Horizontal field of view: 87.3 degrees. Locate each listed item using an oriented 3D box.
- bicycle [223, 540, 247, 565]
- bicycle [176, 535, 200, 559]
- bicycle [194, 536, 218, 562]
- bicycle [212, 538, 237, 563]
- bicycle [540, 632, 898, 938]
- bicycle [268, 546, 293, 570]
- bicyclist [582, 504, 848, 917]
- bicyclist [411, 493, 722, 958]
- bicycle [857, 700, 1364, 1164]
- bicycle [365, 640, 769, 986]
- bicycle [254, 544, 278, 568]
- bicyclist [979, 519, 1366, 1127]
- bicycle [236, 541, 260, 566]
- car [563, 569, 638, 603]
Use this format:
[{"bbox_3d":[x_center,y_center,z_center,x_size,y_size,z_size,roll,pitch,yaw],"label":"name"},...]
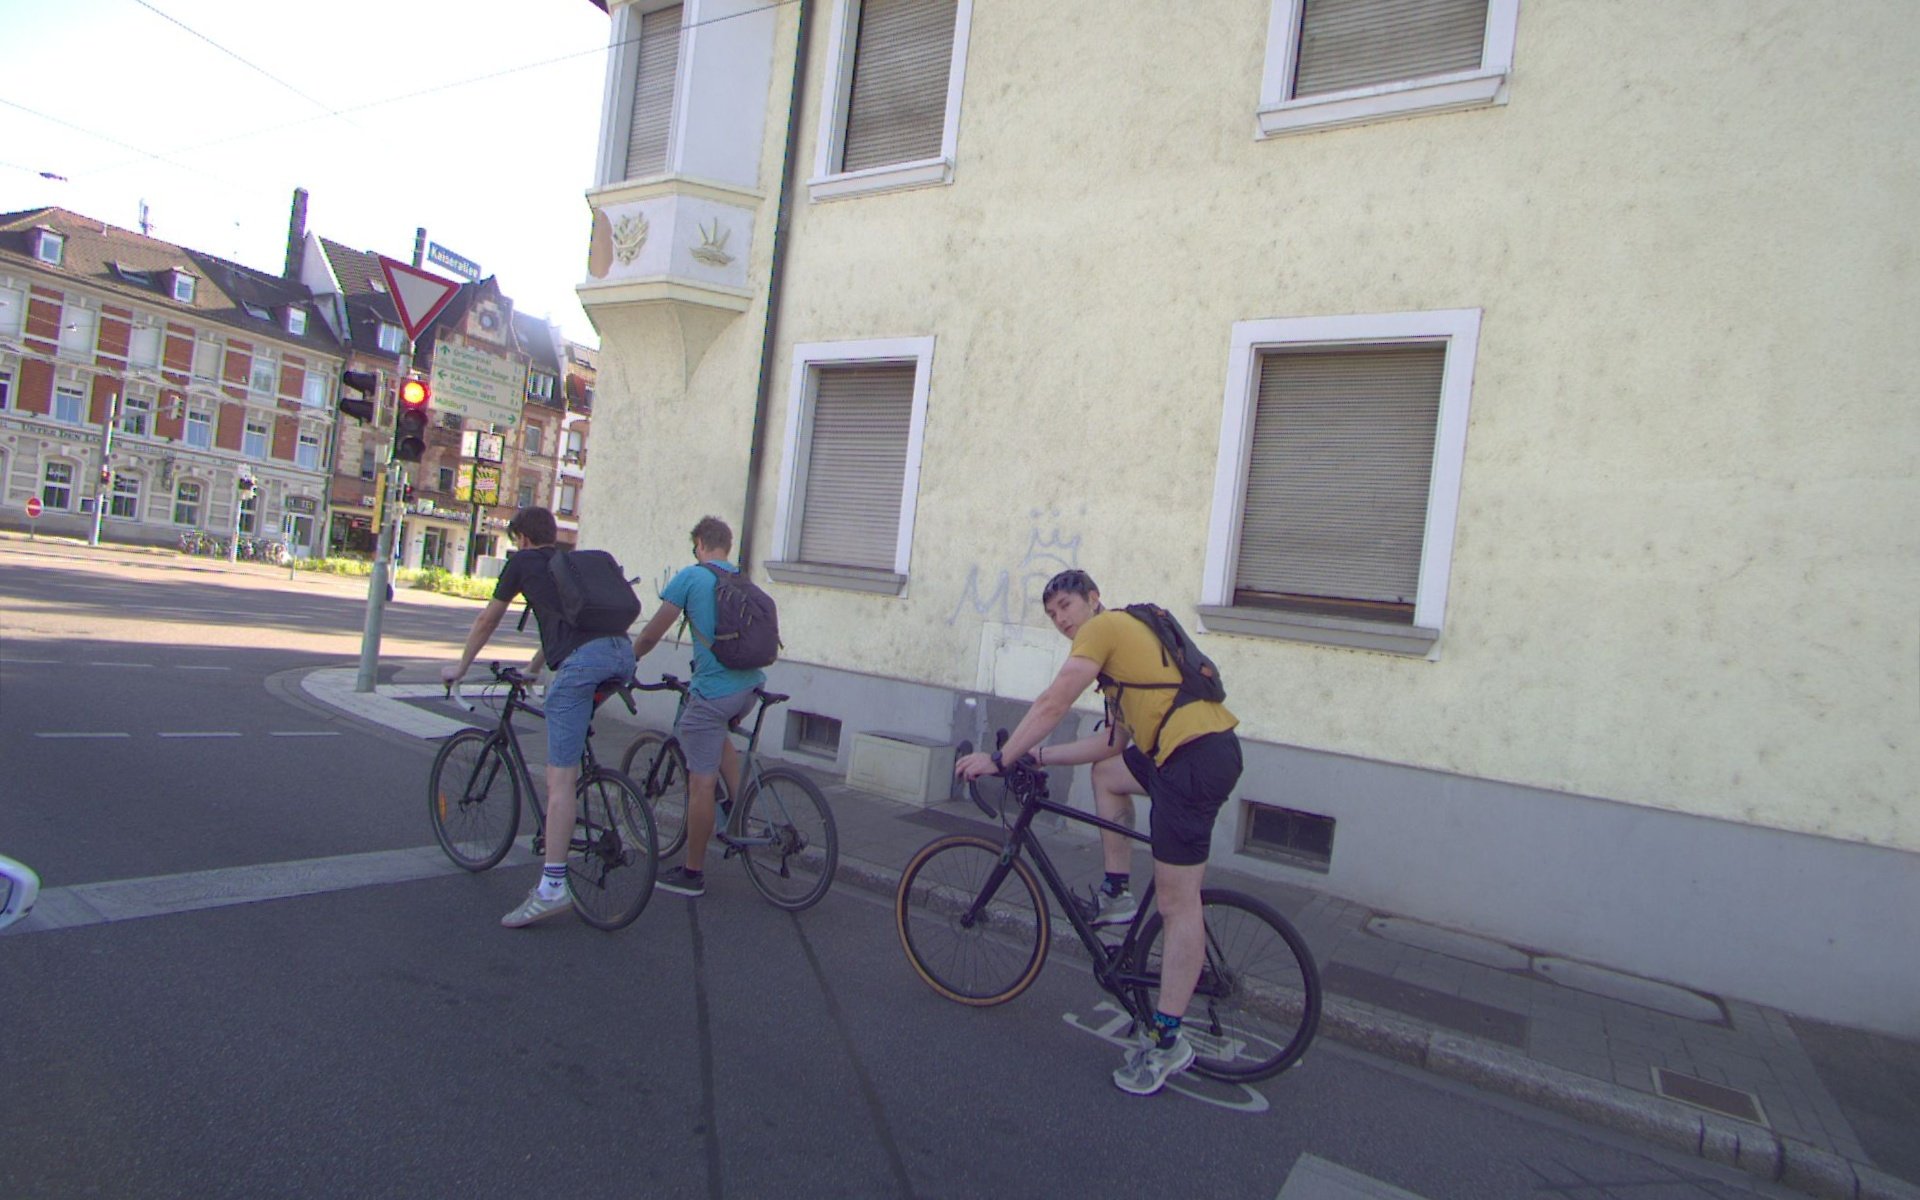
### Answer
[{"bbox_3d":[-34.001,-2.250,47.173,1.759,1.033,0.485,7,0,42],"label":"bicycle"},{"bbox_3d":[-35.064,-2.414,45.667,1.759,0.925,0.485,7,0,42],"label":"bicycle"},{"bbox_3d":[-34.639,-2.341,46.204,1.759,1.033,0.485,7,0,42],"label":"bicycle"},{"bbox_3d":[-34.188,-2.292,46.749,1.759,1.033,0.485,7,0,42],"label":"bicycle"},{"bbox_3d":[-1.307,0.877,5.284,1.858,1.180,0.571,7,0,32],"label":"bicycle"},{"bbox_3d":[-33.091,-2.058,48.980,1.759,1.033,0.485,7,0,42],"label":"bicycle"},{"bbox_3d":[-1.284,0.523,5.274,0.978,1.910,0.652,7,0,32],"label":"bicyclist"},{"bbox_3d":[-1.748,0.491,4.473,0.978,1.788,0.652,7,0,32],"label":"bicyclist"},{"bbox_3d":[0.515,1.089,3.776,1.670,1.180,0.571,7,0,32],"label":"bicycle"},{"bbox_3d":[-1.797,0.835,4.471,1.858,1.071,0.571,7,0,32],"label":"bicycle"},{"bbox_3d":[-33.310,-2.114,48.293,1.759,1.033,0.485,7,0,42],"label":"bicycle"},{"bbox_3d":[0.774,0.696,3.660,1.019,1.839,0.652,7,0,32],"label":"bicyclist"},{"bbox_3d":[-33.674,-2.191,47.565,1.759,1.033,0.485,7,0,42],"label":"bicycle"},{"bbox_3d":[-23.273,-0.899,65.290,1.966,1.641,4.261,7,-1,29],"label":"car"}]
